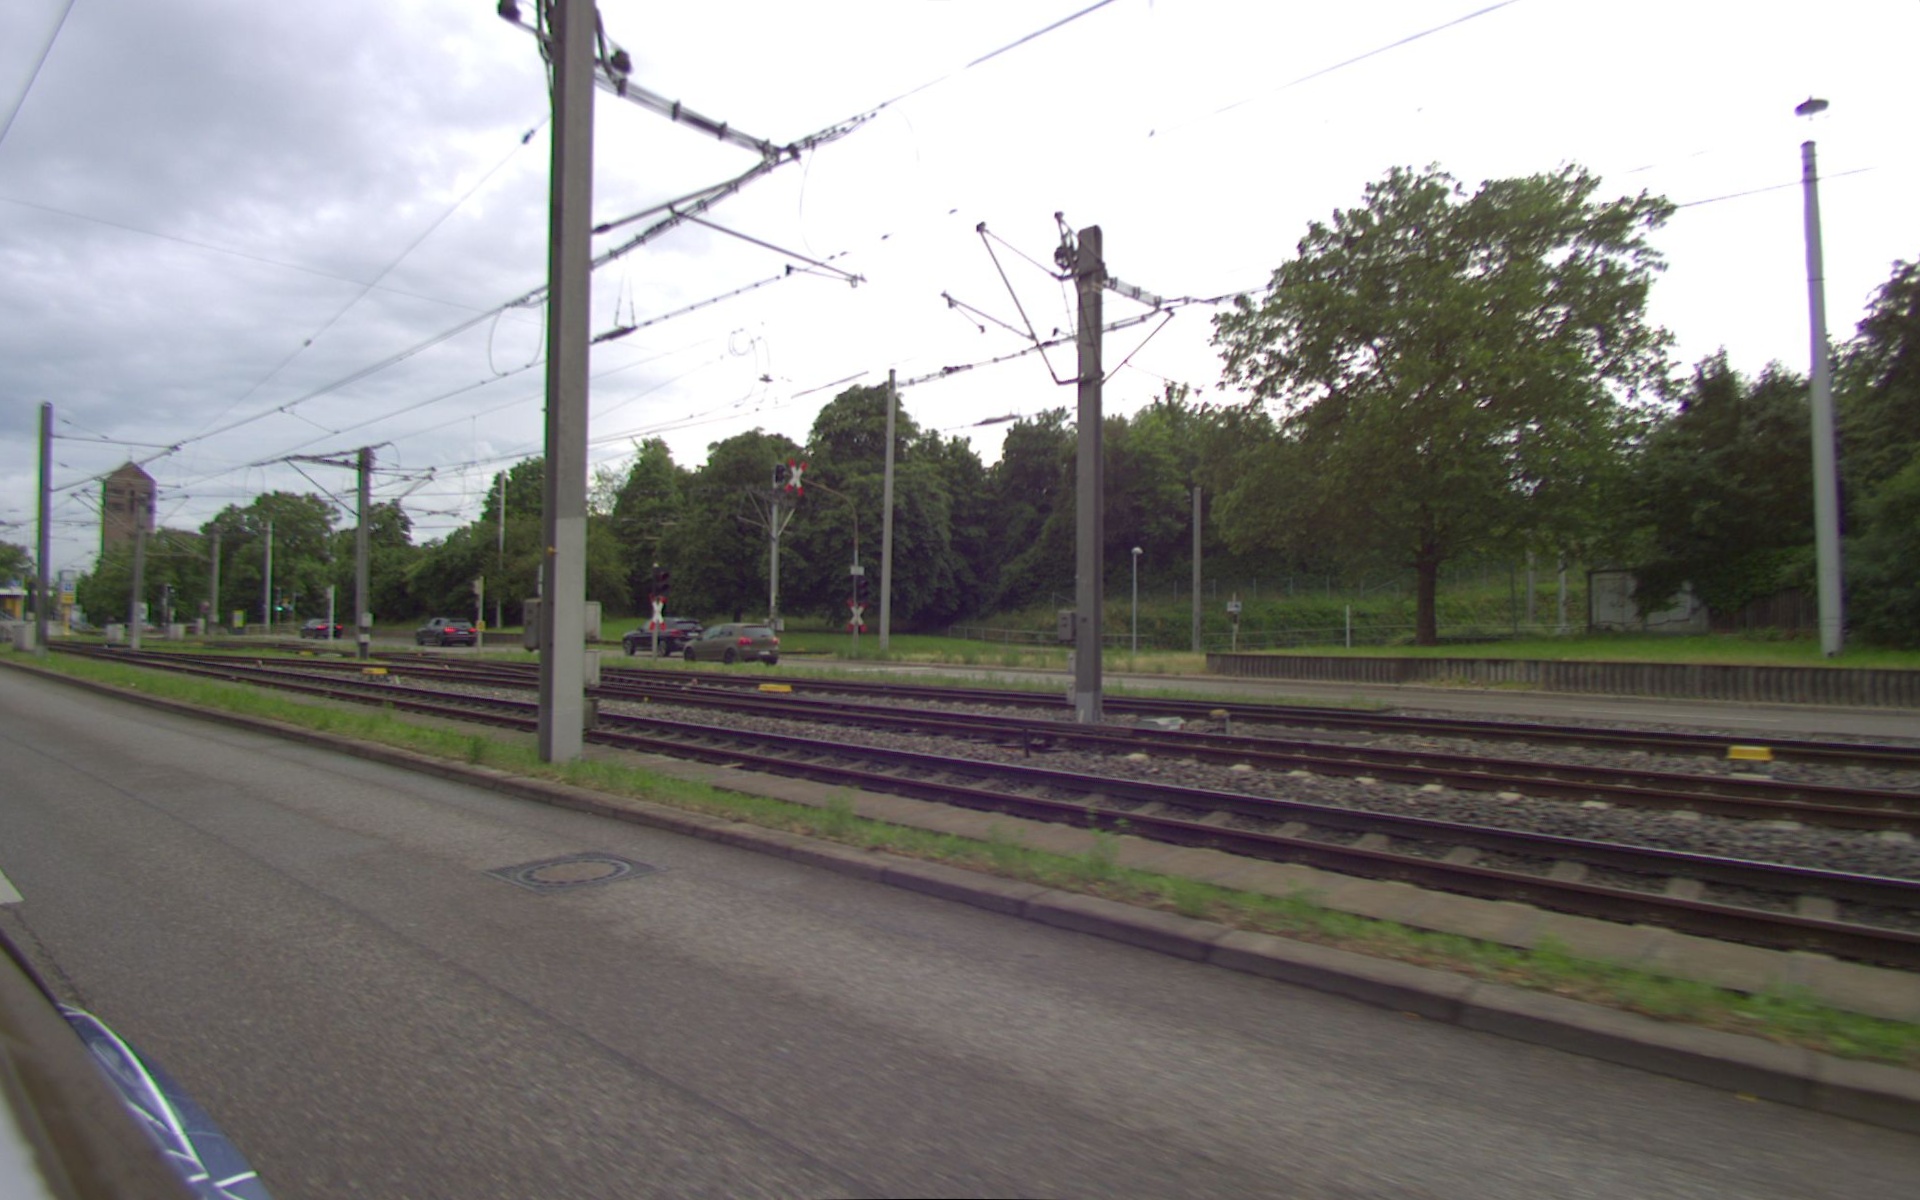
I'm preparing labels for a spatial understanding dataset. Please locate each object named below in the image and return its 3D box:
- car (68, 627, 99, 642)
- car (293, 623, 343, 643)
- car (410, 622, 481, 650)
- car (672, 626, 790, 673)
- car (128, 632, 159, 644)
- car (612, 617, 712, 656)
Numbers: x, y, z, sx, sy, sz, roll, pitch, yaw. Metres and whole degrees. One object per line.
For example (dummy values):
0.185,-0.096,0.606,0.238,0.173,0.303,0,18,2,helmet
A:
-105.044,4.088,121.329,4.859,1.752,2.062,-1,-2,40,car
-47.335,2.438,74.574,4.680,1.458,1.907,-1,-2,41,car
-30.640,2.138,60.212,5.158,1.601,2.066,-1,-3,43,car
-7.859,1.646,34.552,4.309,1.498,1.870,-1,-3,44,car
-91.285,4.238,113.134,4.471,1.271,1.907,-1,-2,40,car
-12.822,1.546,43.411,4.847,1.607,1.926,-1,-3,43,car
